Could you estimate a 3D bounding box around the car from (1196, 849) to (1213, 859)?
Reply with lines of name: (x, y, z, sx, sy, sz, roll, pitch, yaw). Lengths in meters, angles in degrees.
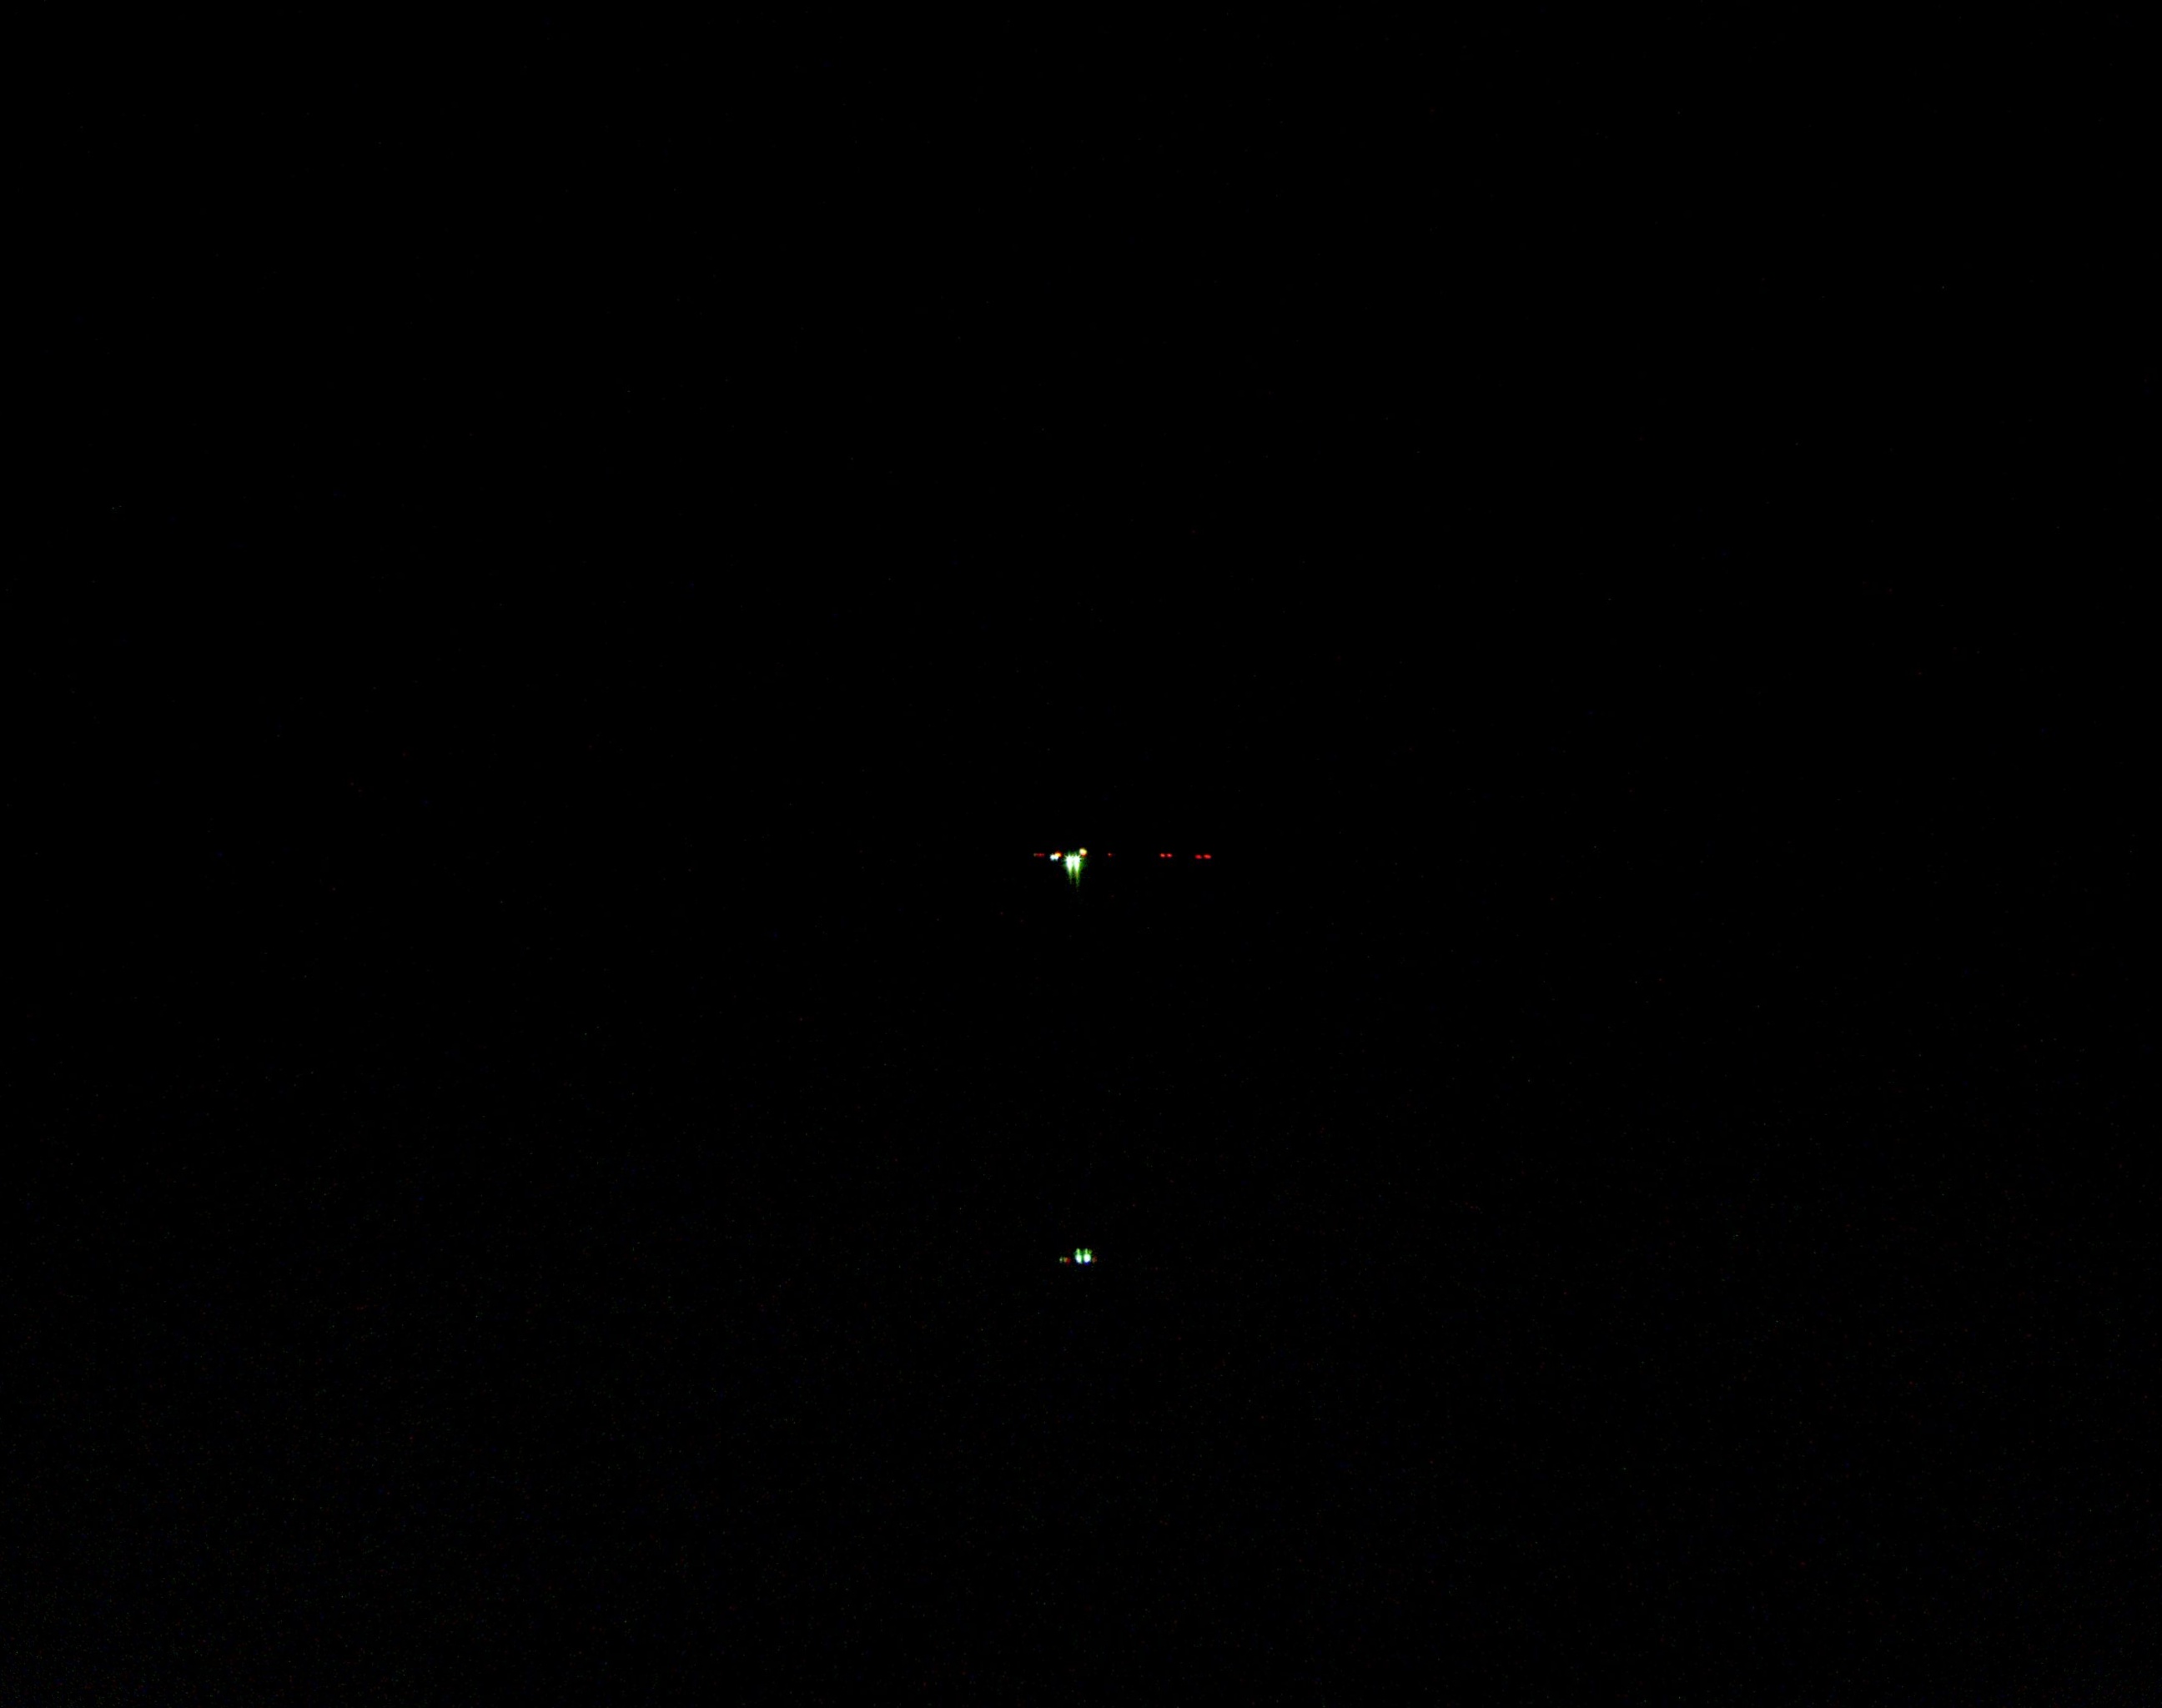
car: (19.010, -0.020, 117.167, 1.998, 1.324, 4.398, -2, 1, 0)

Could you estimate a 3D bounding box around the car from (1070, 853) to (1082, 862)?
car: (-1.049, 0.600, 146.507, 2.154, 1.558, 4.580, -2, 1, -2)

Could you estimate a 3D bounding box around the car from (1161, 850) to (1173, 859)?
car: (17.844, 0.060, 157.575, 1.999, 1.641, 4.398, -2, 1, -1)
